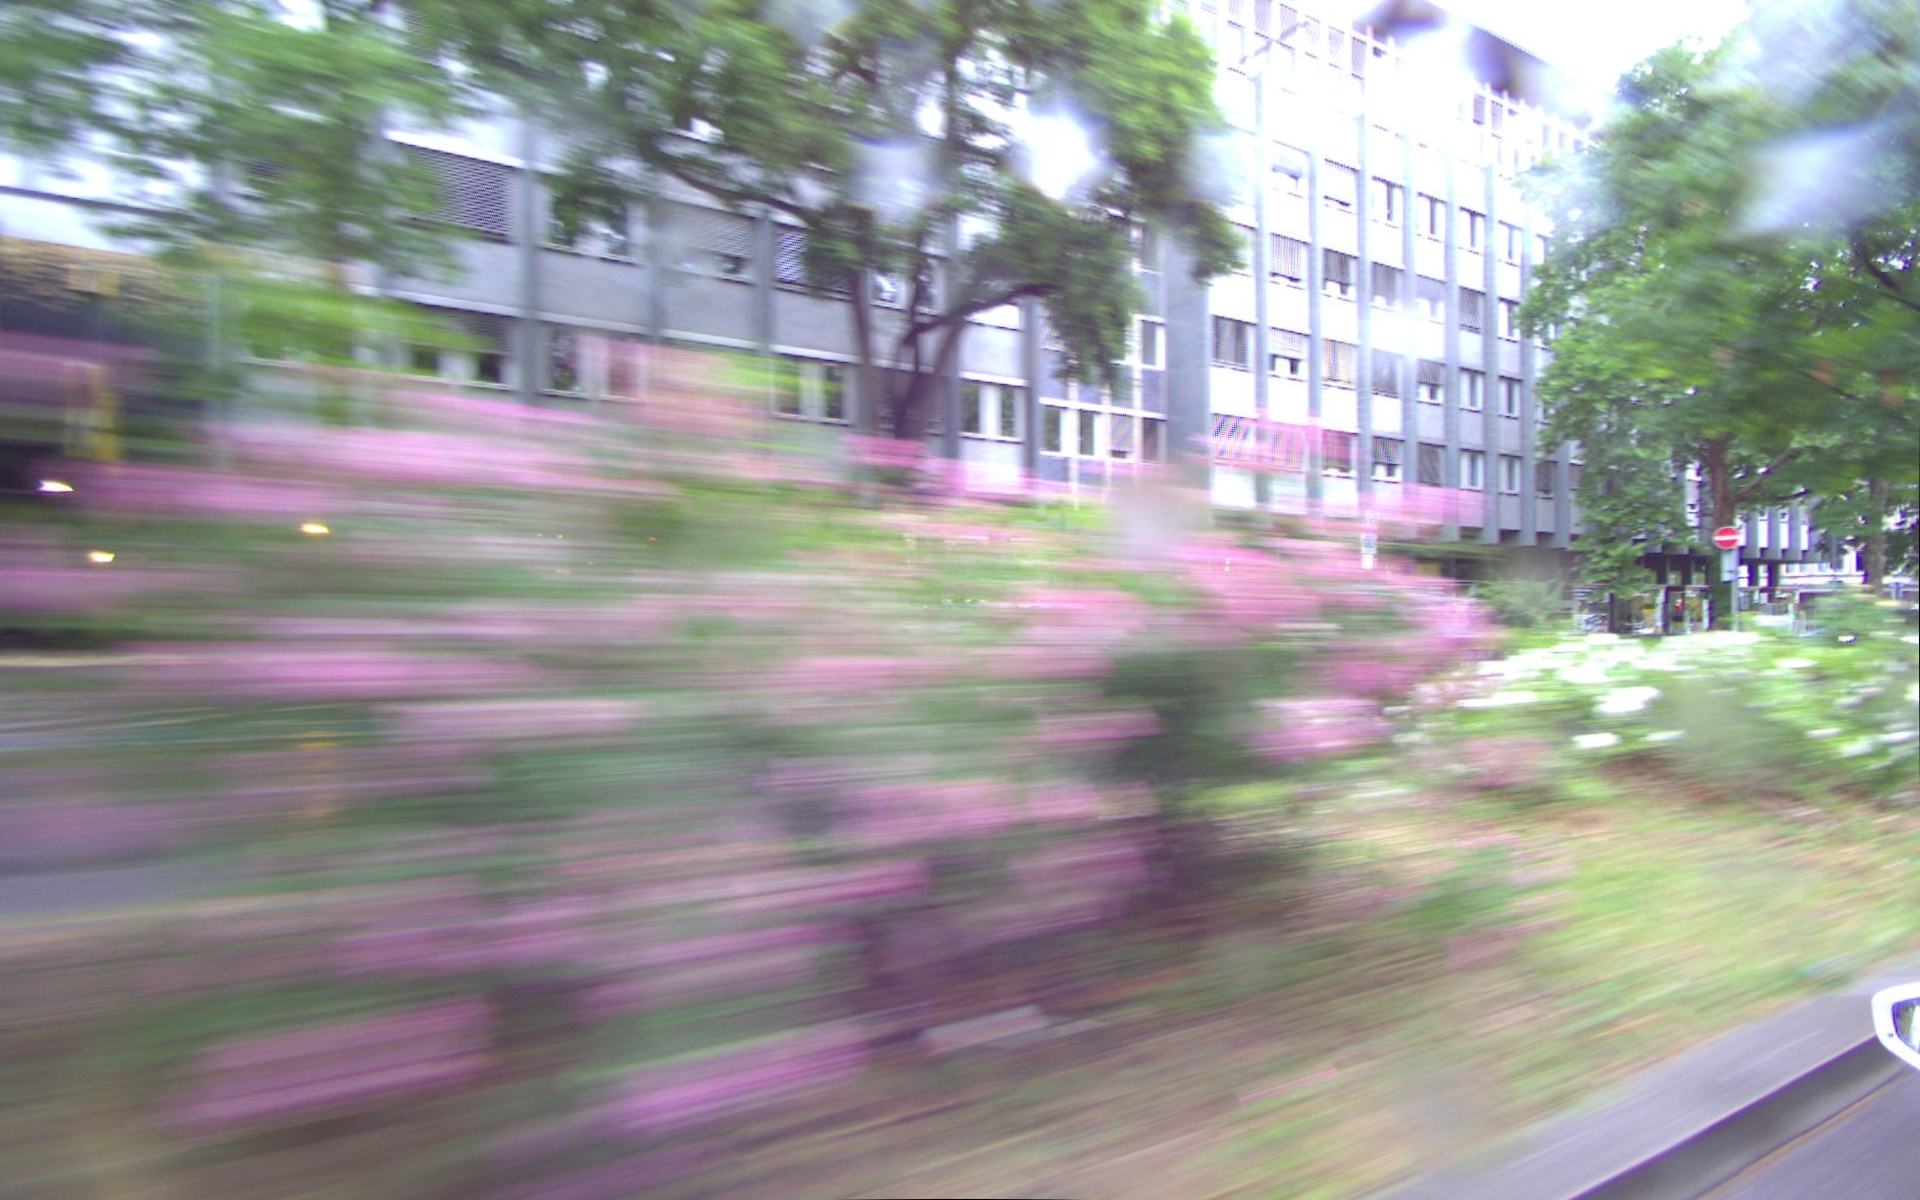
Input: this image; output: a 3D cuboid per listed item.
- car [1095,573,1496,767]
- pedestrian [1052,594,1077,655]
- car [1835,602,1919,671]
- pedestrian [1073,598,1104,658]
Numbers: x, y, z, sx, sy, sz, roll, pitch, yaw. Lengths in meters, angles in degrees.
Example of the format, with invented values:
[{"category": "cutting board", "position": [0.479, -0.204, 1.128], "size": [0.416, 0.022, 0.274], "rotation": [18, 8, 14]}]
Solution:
[{"category": "car", "position": [3.493, 0.626, 10.309], "size": [3.967, 1.659, 1.714], "rotation": [1, 0, -30]}, {"category": "pedestrian", "position": [3.147, 0.732, 30.235], "size": [0.516, 1.831, 0.545], "rotation": [1, 0, -30]}, {"category": "car", "position": [24.474, 0.921, 25.886], "size": [3.967, 1.659, 1.714], "rotation": [1, 0, -30]}, {"category": "pedestrian", "position": [3.731, 0.809, 29.281], "size": [0.678, 1.731, 0.561], "rotation": [1, 0, -30]}]
